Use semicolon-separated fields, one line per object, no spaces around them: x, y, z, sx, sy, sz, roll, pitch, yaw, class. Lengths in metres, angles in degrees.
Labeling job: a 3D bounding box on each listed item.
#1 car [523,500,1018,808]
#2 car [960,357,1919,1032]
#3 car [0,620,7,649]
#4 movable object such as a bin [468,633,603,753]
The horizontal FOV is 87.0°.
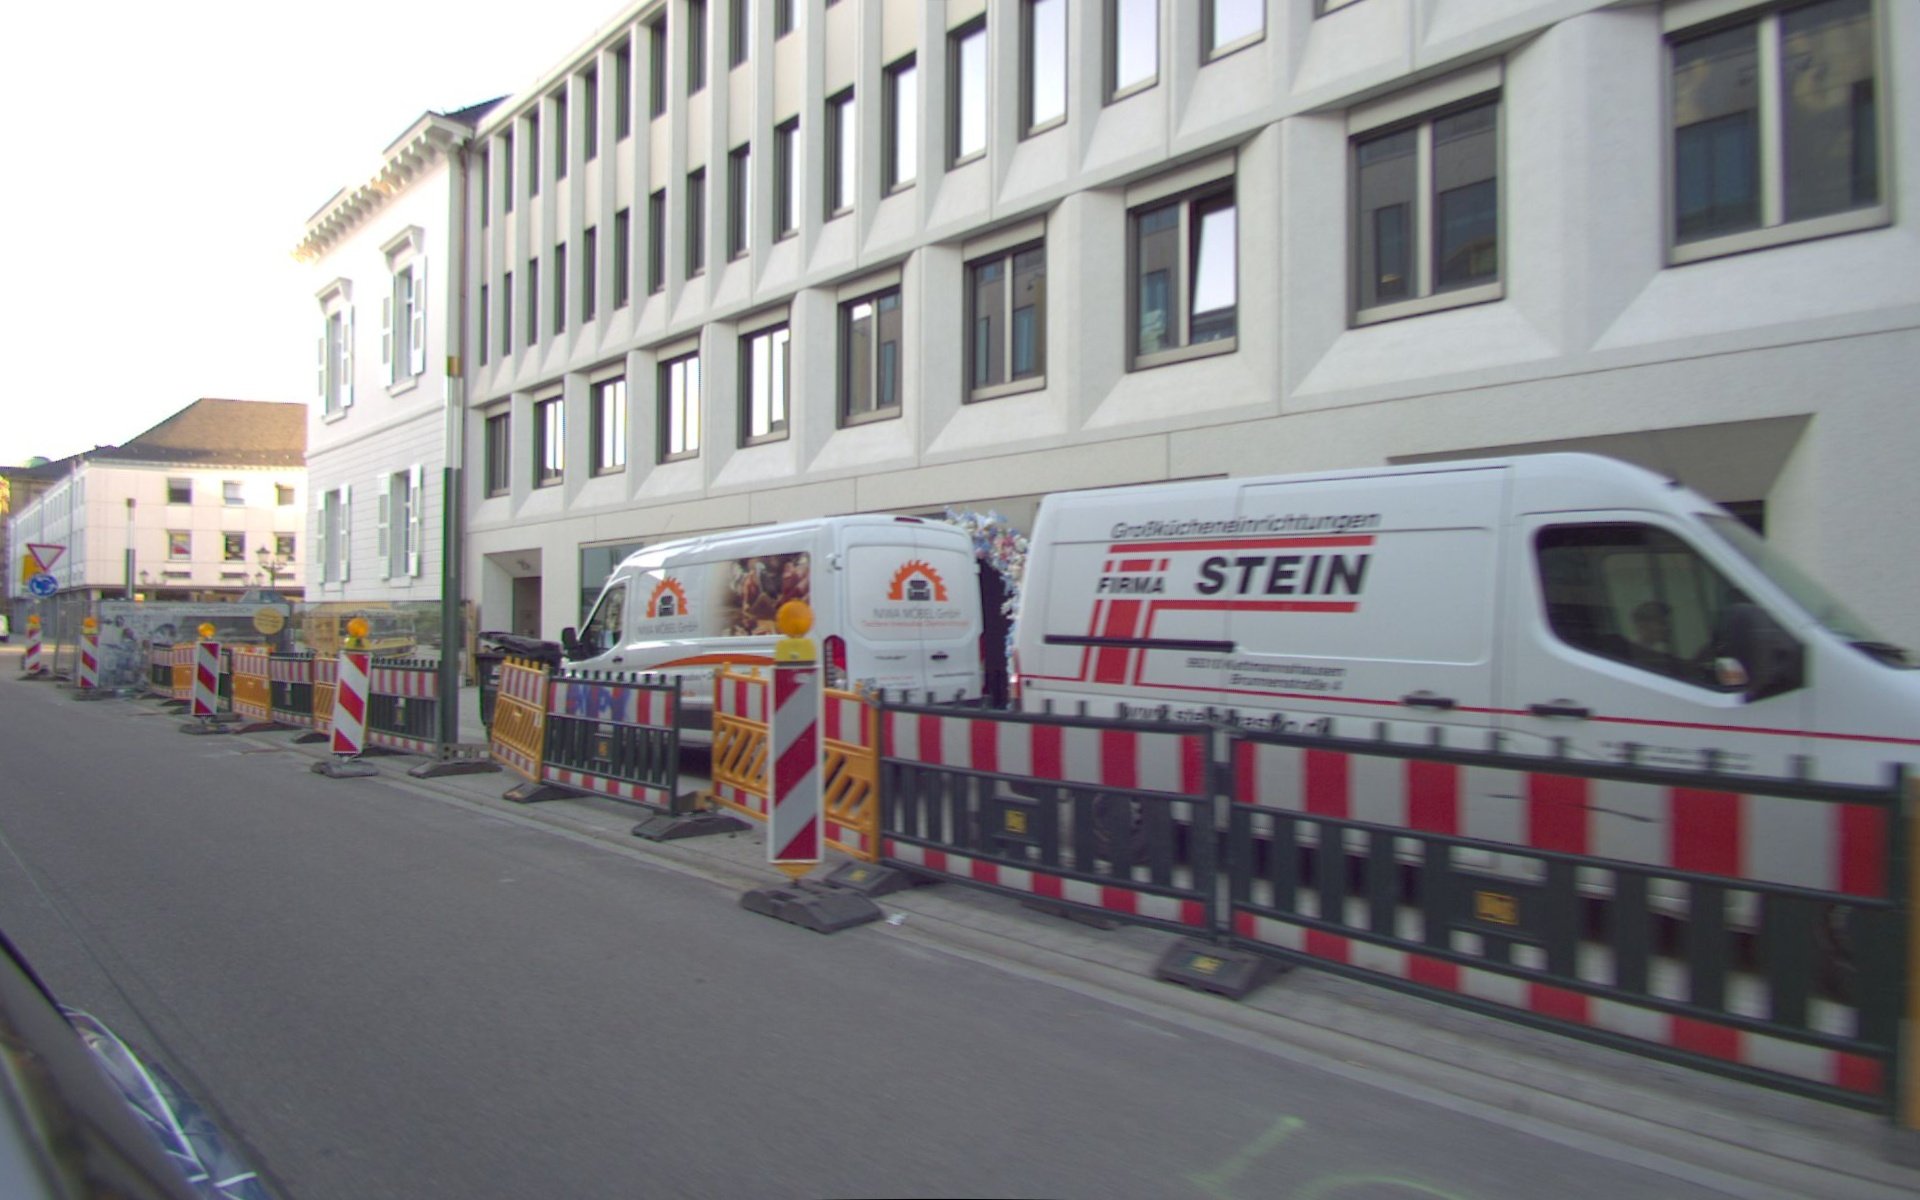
-2.358;0.489;11.026;5.998;2.489;2.150;-1;-2;43;car
2.927;0.384;5.755;5.998;2.489;2.150;-1;-2;42;car
-64.522;2.251;66.484;4.451;1.839;1.997;-1;-2;36;car
-5.651;1.197;13.498;1.388;1.477;1.036;-1;-1;30;movable object such as a bin
